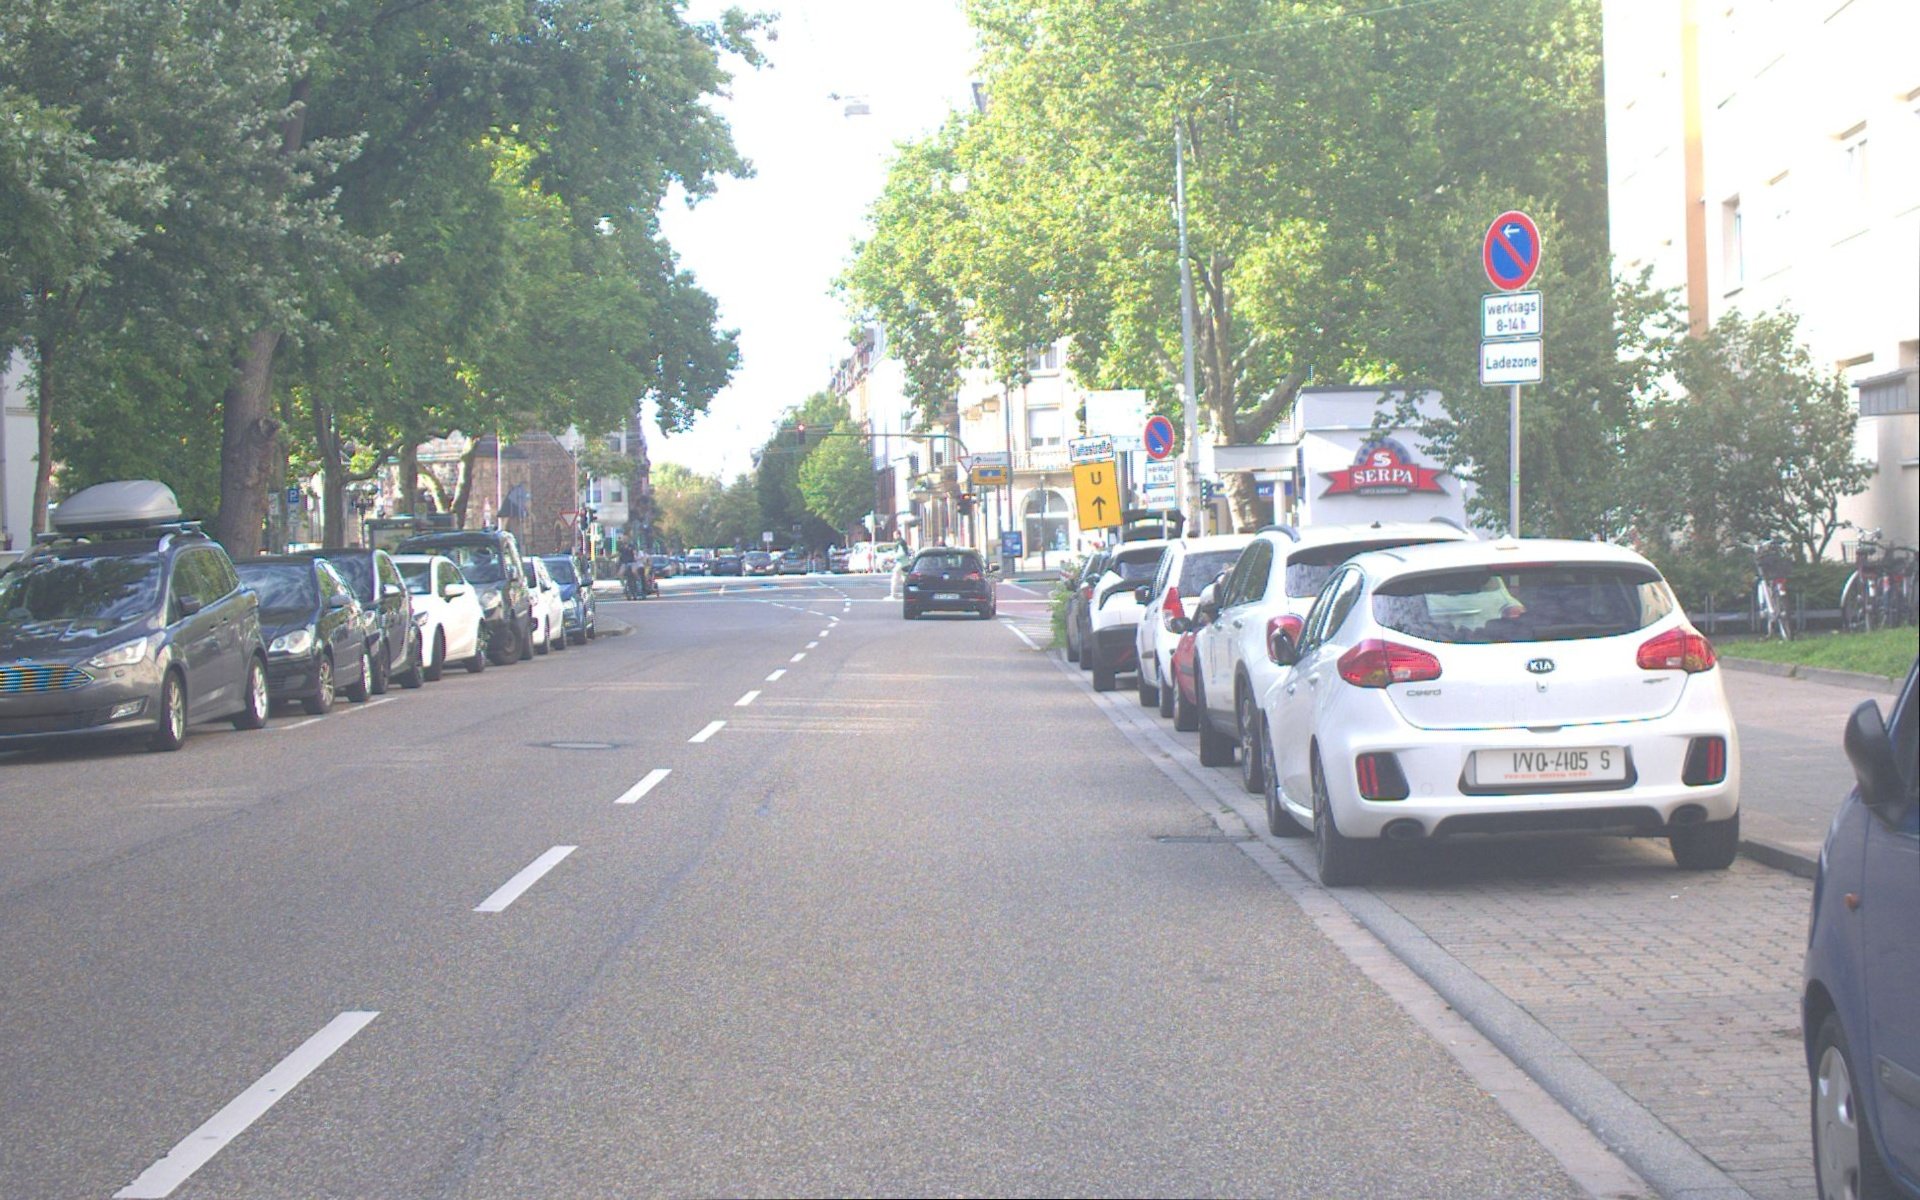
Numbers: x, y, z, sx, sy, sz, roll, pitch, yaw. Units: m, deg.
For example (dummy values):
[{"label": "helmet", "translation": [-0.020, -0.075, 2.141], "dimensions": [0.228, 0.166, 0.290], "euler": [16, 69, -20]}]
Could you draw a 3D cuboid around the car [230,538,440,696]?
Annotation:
[{"label": "car", "translation": [-6.601, 0.148, 36.554], "dimensions": [1.553, 1.515, 3.016], "euler": [-3, 1, 1]}]

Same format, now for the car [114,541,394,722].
[{"label": "car", "translation": [-6.496, 0.242, 32.021], "dimensions": [1.700, 1.482, 3.848], "euler": [-3, 1, 1]}]

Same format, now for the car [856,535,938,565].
[{"label": "car", "translation": [-3.258, -2.579, 177.484], "dimensions": [3.986, 1.415, 2.000], "euler": [-1, 1, -7]}]

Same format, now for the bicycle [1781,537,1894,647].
[{"label": "bicycle", "translation": [9.377, -0.104, 36.808], "dimensions": [0.597, 1.111, 2.209], "euler": [-2, 1, 0]}]

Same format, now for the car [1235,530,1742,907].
[{"label": "car", "translation": [2.351, 0.453, 16.411], "dimensions": [1.728, 1.482, 4.641], "euler": [-2, 1, 1]}]

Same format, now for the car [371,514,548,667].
[{"label": "car", "translation": [-6.672, -0.161, 46.222], "dimensions": [1.723, 1.876, 4.192], "euler": [-3, 1, -1]}]

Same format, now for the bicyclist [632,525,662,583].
[{"label": "bicyclist", "translation": [-9.137, -1.340, 100.330], "dimensions": [0.811, 1.686, 1.113], "euler": [-1, 1, -7]}]

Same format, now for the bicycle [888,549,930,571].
[{"label": "bicycle", "translation": [-2.591, -2.022, 175.153], "dimensions": [2.022, 1.078, 0.620], "euler": [-2, 1, -13]}]

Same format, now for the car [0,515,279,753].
[{"label": "car", "translation": [-6.777, 0.223, 27.083], "dimensions": [1.799, 1.662, 4.482], "euler": [-3, 1, 1]}]

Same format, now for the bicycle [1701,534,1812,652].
[{"label": "bicycle", "translation": [8.555, -0.093, 36.993], "dimensions": [0.597, 1.183, 2.209], "euler": [-4, 1, 0]}]

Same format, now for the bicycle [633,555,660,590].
[{"label": "bicycle", "translation": [-9.141, -0.805, 100.296], "dimensions": [0.761, 0.990, 1.927], "euler": [-1, 1, -5]}]

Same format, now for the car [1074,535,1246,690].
[{"label": "car", "translation": [2.085, 0.083, 36.599], "dimensions": [1.690, 1.523, 4.237], "euler": [-1, 1, 2]}]

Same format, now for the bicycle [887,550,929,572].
[{"label": "bicycle", "translation": [-2.641, -1.974, 175.783], "dimensions": [2.022, 1.078, 0.631], "euler": [-2, 1, -13]}]

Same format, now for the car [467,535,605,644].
[{"label": "car", "translation": [-6.871, -0.198, 56.007], "dimensions": [1.799, 1.614, 3.803], "euler": [-3, 1, -2]}]

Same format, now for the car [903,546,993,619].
[{"label": "car", "translation": [-0.274, -0.370, 69.286], "dimensions": [1.751, 1.409, 4.000], "euler": [0, 1, -1]}]

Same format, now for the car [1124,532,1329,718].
[{"label": "car", "translation": [2.345, 0.180, 30.872], "dimensions": [1.551, 1.552, 3.468], "euler": [-1, 1, 0]}]

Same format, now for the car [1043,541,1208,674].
[{"label": "car", "translation": [2.010, 0.050, 42.800], "dimensions": [1.690, 1.523, 4.238], "euler": [-2, 1, -2]}]

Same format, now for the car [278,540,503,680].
[{"label": "car", "translation": [-6.712, 0.080, 40.943], "dimensions": [1.694, 1.488, 4.332], "euler": [-2, 1, 3]}]

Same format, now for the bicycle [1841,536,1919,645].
[{"label": "bicycle", "translation": [9.998, -0.122, 36.799], "dimensions": [0.529, 1.111, 2.209], "euler": [-2, 1, 0]}]

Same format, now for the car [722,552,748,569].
[{"label": "car", "translation": [-16.671, -2.940, 254.696], "dimensions": [1.778, 1.225, 3.588], "euler": [0, 1, -1]}]

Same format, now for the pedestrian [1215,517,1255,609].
[{"label": "pedestrian", "translation": [4.961, -0.670, 62.022], "dimensions": [0.652, 1.639, 0.743], "euler": [-1, 1, 0]}]

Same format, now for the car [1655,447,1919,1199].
[{"label": "car", "translation": [2.493, 0.530, 6.015], "dimensions": [1.728, 1.644, 4.117], "euler": [-2, 1, 1]}]

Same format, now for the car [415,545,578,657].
[{"label": "car", "translation": [-6.889, -0.015, 51.433], "dimensions": [1.799, 1.488, 3.803], "euler": [-3, 1, 1]}]

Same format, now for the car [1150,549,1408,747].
[{"label": "car", "translation": [2.435, 0.325, 26.991], "dimensions": [1.515, 1.393, 3.677], "euler": [-2, 1, -2]}]

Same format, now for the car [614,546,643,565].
[{"label": "car", "translation": [-21.345, -2.891, 221.564], "dimensions": [1.550, 1.225, 3.588], "euler": [0, 1, -1]}]

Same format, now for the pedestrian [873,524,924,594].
[{"label": "pedestrian", "translation": [-1.561, -1.041, 86.542], "dimensions": [1.074, 1.747, 0.919], "euler": [0, 1, -17]}]

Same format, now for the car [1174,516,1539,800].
[{"label": "car", "translation": [2.417, 0.309, 21.907], "dimensions": [1.728, 1.575, 4.117], "euler": [-2, 1, -1]}]

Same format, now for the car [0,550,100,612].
[{"label": "car", "translation": [-23.209, -0.477, 85.680], "dimensions": [1.592, 1.472, 3.703], "euler": [-1, 1, 21]}]
